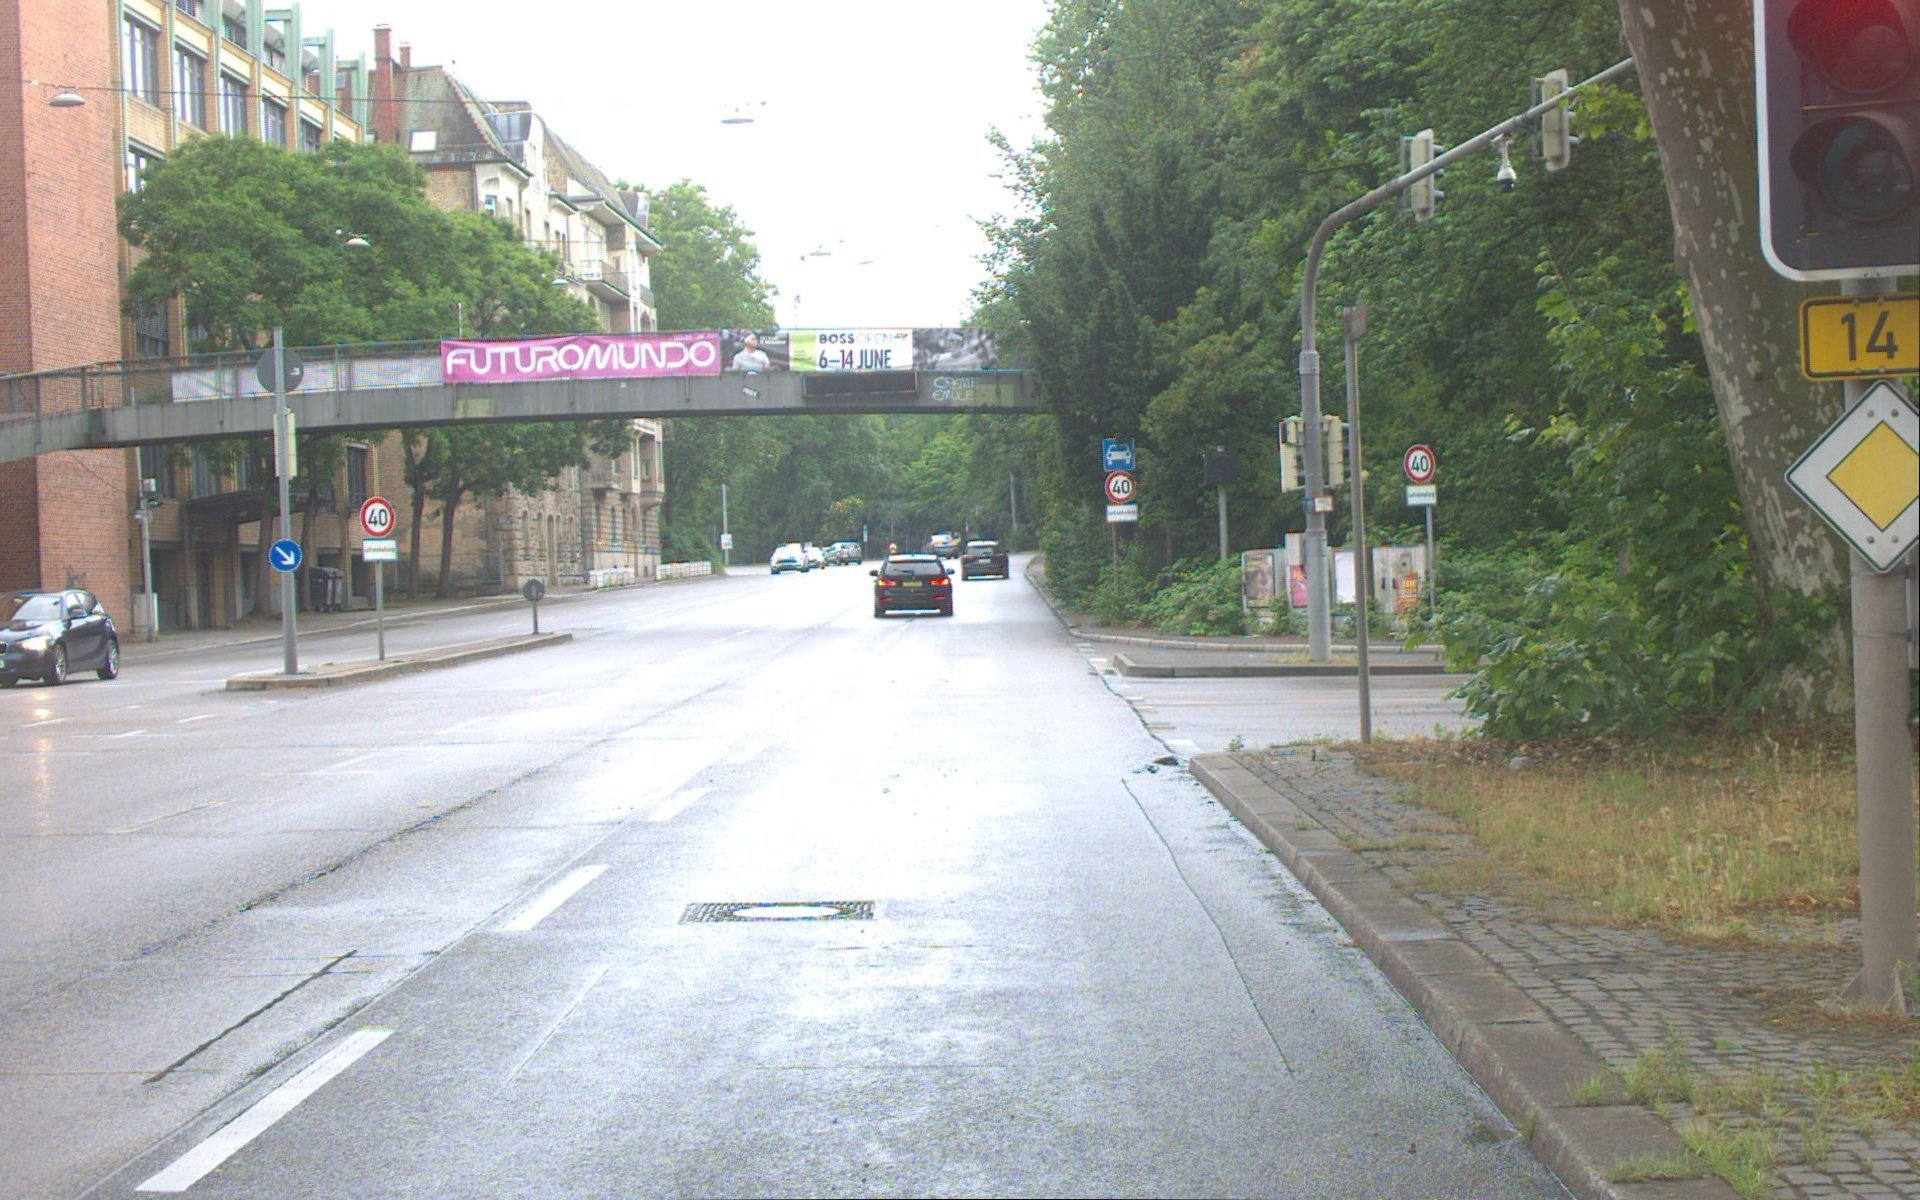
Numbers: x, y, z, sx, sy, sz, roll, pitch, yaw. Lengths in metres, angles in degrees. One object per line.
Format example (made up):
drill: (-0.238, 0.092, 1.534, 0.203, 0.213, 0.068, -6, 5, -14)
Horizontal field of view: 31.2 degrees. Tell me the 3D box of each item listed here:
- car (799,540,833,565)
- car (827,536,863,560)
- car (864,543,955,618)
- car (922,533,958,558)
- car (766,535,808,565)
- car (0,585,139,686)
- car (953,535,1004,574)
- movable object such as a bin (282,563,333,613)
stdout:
car: (-8.946, -2.942, 214.257, 1.709, 1.459, 4.041, -2, 0, 3)
car: (-8.237, -3.701, 246.415, 1.889, 1.604, 4.457, -1, 1, -11)
car: (-1.207, -0.467, 80.041, 2.004, 1.638, 4.376, -2, 1, -2)
car: (-1.367, -3.707, 232.870, 1.889, 1.604, 4.457, -1, 1, -6)
car: (-9.540, -2.730, 189.753, 1.890, 1.604, 4.456, -1, 1, 2)
car: (-13.690, 0.537, 50.925, 1.686, 1.414, 4.214, -2, -1, 5)
car: (0.684, -1.723, 130.110, 1.842, 1.448, 3.777, 1, 1, -1)
movable object such as a bin: (-20.294, -0.366, 106.972, 1.282, 1.513, 1.273, -1, 1, 1)
